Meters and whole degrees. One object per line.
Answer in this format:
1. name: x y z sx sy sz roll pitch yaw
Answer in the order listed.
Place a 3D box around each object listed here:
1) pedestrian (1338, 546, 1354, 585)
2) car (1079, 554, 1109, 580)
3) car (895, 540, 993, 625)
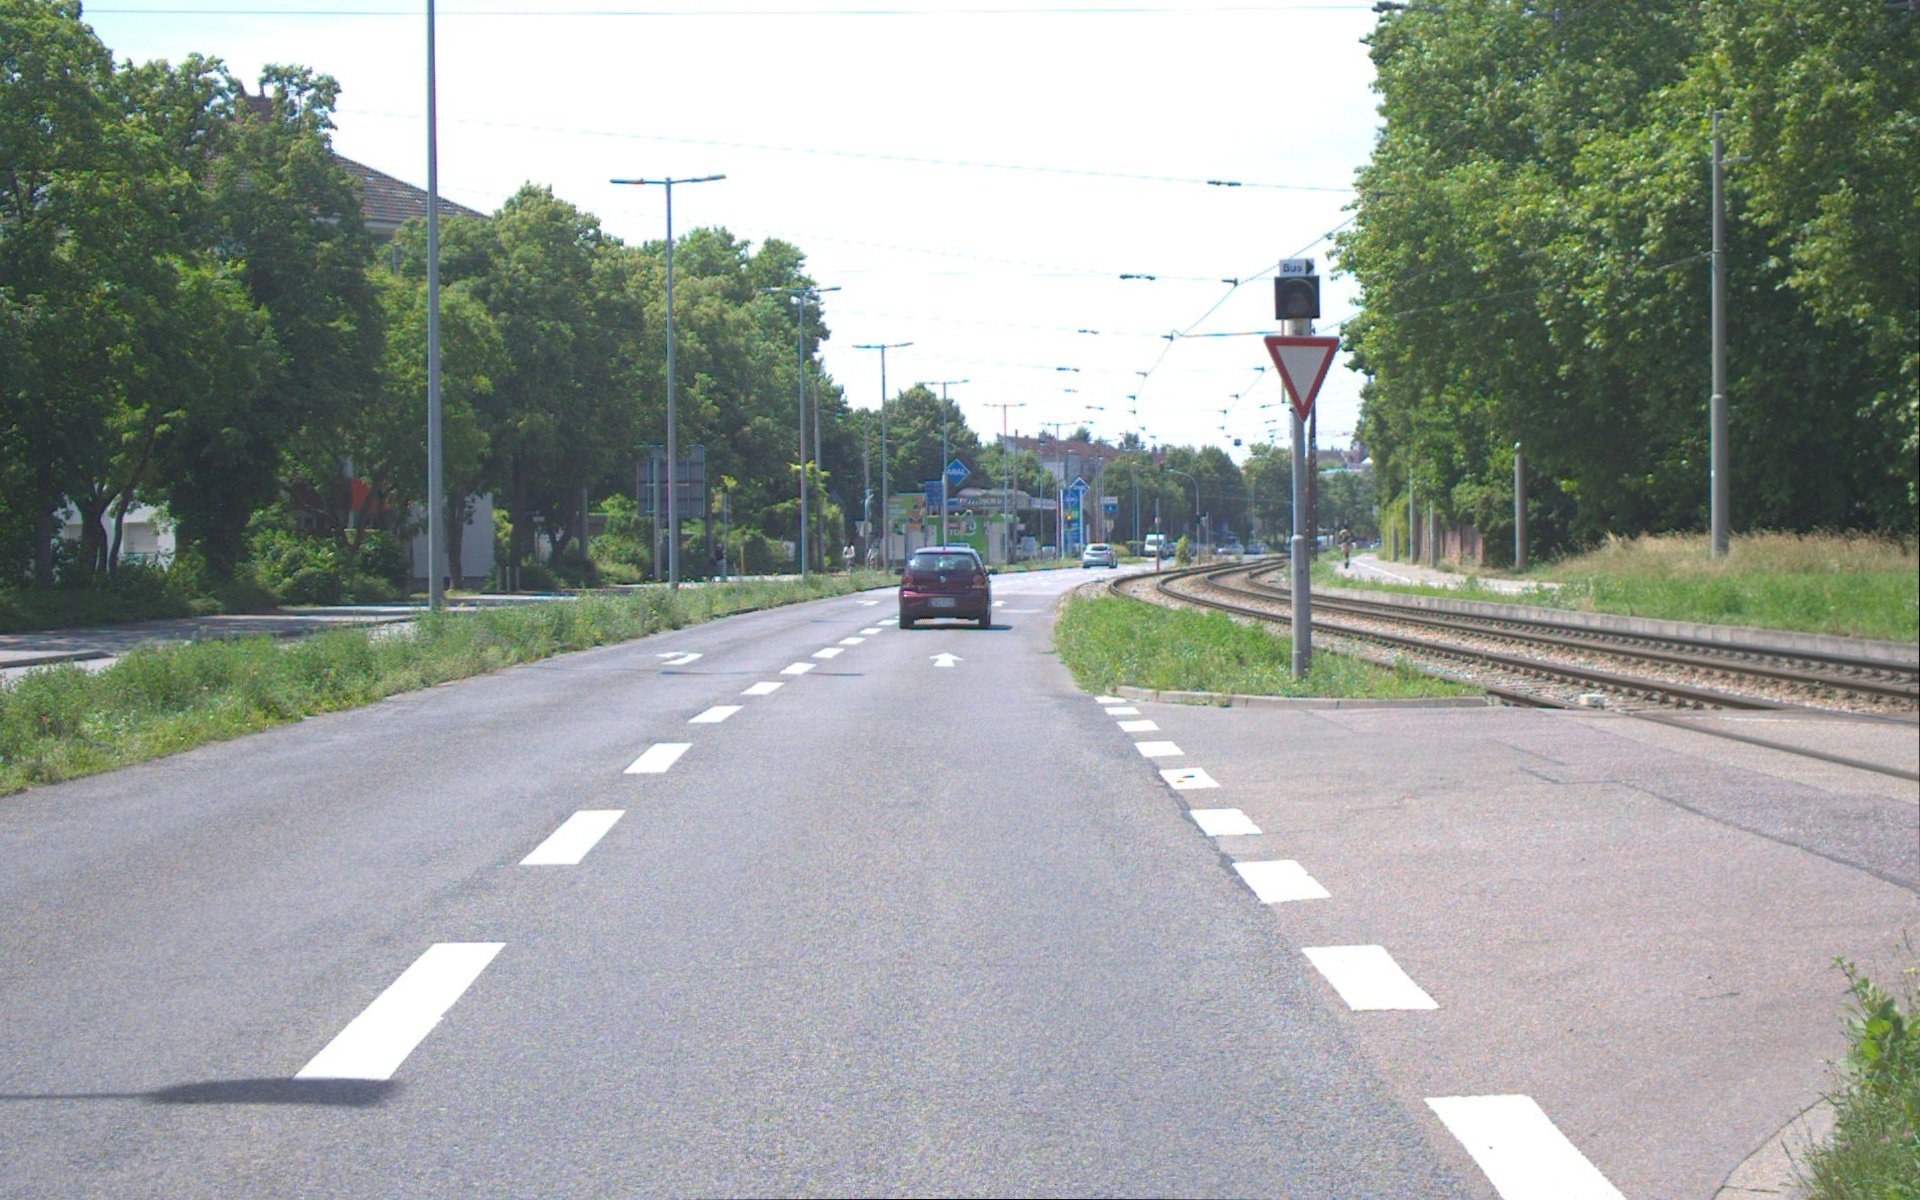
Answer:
1. pedestrian: 17.028 -1.526 151.703 0.662 1.720 0.816 -1 1 6
2. car: 8.019 -1.959 205.874 1.703 1.475 3.716 2 0 2
3. car: -0.282 -0.299 62.757 1.703 1.472 3.716 1 0 0
